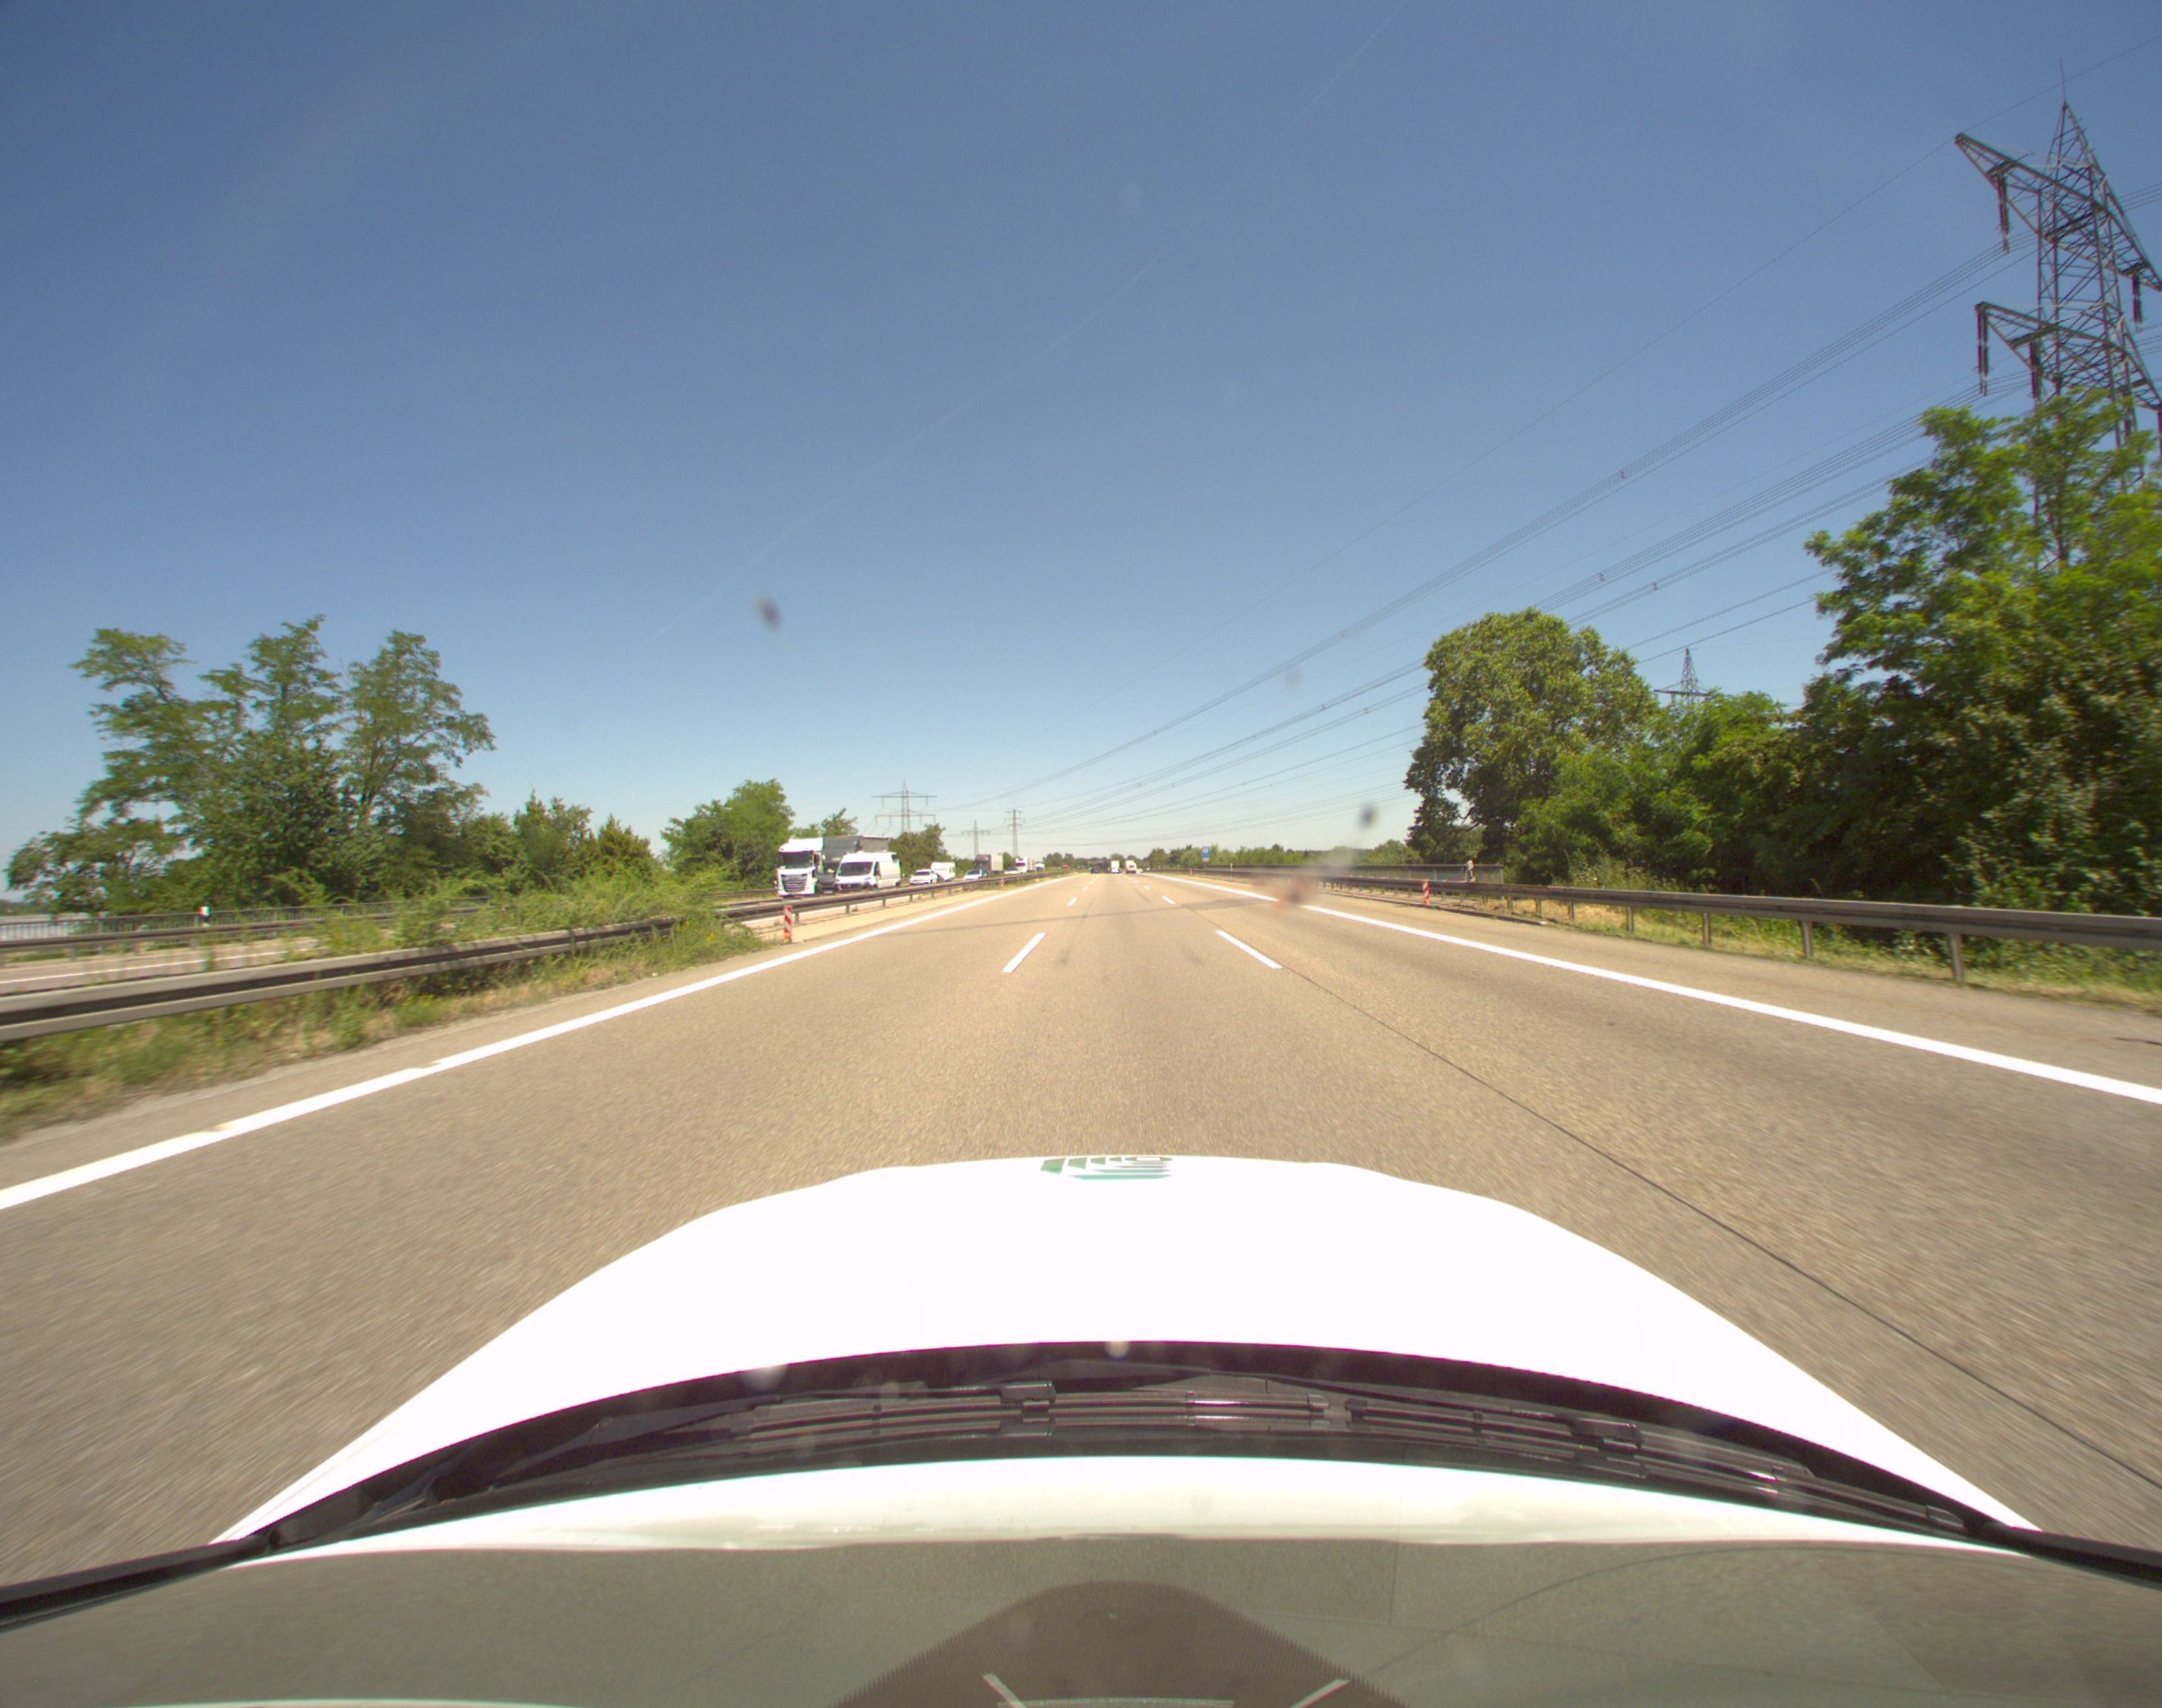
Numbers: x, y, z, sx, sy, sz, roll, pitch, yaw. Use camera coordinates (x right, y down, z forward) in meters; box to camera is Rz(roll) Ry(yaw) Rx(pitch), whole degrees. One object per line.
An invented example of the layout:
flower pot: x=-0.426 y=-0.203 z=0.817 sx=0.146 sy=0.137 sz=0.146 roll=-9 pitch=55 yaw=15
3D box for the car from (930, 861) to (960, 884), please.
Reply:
car: x=-16.690 y=2.275 z=100.098 sx=2.409 sy=2.615 sz=5.719 roll=-3 pitch=-1 yaw=2

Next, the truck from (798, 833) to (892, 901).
truck: x=-14.834 y=0.783 z=52.210 sx=2.844 sy=3.919 sz=9.501 roll=-1 pitch=-1 yaw=3

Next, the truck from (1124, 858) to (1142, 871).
truck: x=17.128 y=3.438 z=265.669 sx=3.159 sy=4.304 sz=16.072 roll=-1 pitch=-1 yaw=13

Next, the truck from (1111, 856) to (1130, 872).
truck: x=12.951 y=3.129 z=267.282 sx=3.642 sy=5.018 sz=16.070 roll=-1 pitch=-1 yaw=12

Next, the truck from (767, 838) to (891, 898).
truck: x=-18.259 y=0.993 z=60.992 sx=3.231 sy=3.802 sz=17.023 roll=-1 pitch=-1 yaw=3

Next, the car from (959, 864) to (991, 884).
car: x=-10.155 y=1.916 z=78.381 sx=2.067 sy=1.791 sz=5.110 roll=-3 pitch=-1 yaw=2

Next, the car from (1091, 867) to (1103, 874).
car: x=3.739 y=3.889 z=188.548 sx=1.816 sy=1.547 sz=4.333 roll=0 pitch=-1 yaw=12

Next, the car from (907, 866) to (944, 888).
car: x=-13.842 y=2.018 z=72.647 sx=2.067 sy=1.831 sz=5.110 roll=-3 pitch=-1 yaw=2

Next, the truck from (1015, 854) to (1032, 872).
truck: x=-13.160 y=2.141 z=186.499 sx=2.682 sy=3.950 sz=10.597 roll=-1 pitch=-1 yaw=2

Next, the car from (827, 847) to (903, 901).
car: x=-11.352 y=1.009 z=43.364 sx=2.161 sy=2.584 sz=6.041 roll=-2 pitch=0 yaw=2

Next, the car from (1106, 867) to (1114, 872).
car: x=8.988 y=4.952 z=252.570 sx=1.816 sy=1.547 sz=4.333 roll=0 pitch=-1 yaw=12

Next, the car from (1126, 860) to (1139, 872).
car: x=10.441 y=2.401 z=166.697 sx=2.433 sy=2.321 sz=5.323 roll=-2 pitch=0 yaw=2

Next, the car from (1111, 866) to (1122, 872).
car: x=9.068 y=3.851 z=209.141 sx=1.814 sy=1.547 sz=4.337 roll=0 pitch=-1 yaw=17
